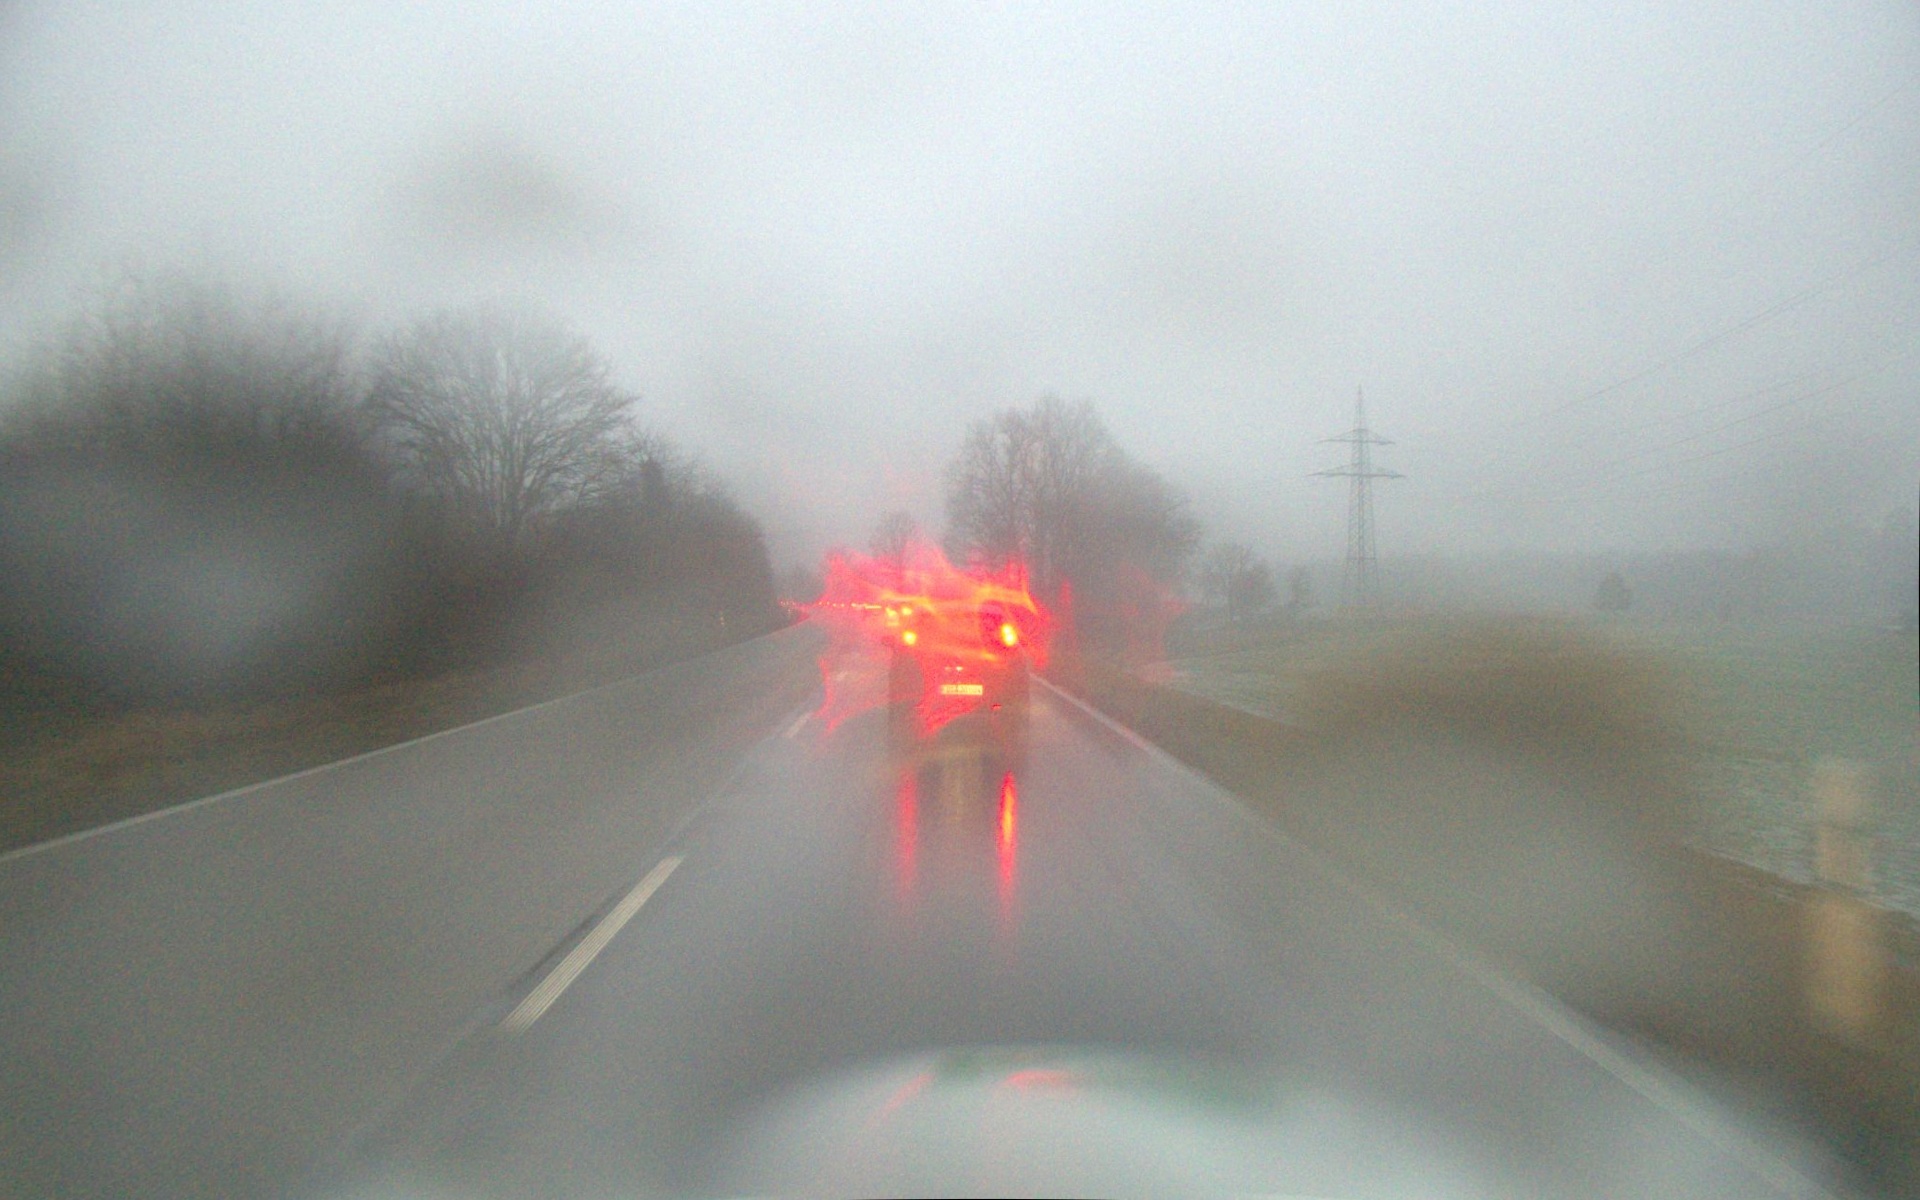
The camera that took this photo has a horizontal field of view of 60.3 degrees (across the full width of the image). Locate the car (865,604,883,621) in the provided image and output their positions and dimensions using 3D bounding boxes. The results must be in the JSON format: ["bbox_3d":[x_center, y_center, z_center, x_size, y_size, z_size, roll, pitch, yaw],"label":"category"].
[{"bbox_3d":[-7.430,1.066,143.160,1.515,1.421,3.868,1,0,-2],"label":"car"}]

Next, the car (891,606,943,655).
[{"bbox_3d":[-1.354,0.920,50.930,1.516,1.421,3.867,1,0,-2],"label":"car"}]

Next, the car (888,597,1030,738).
[{"bbox_3d":[-0.003,0.767,20.486,1.569,1.549,3.869,1,0,0],"label":"car"}]
